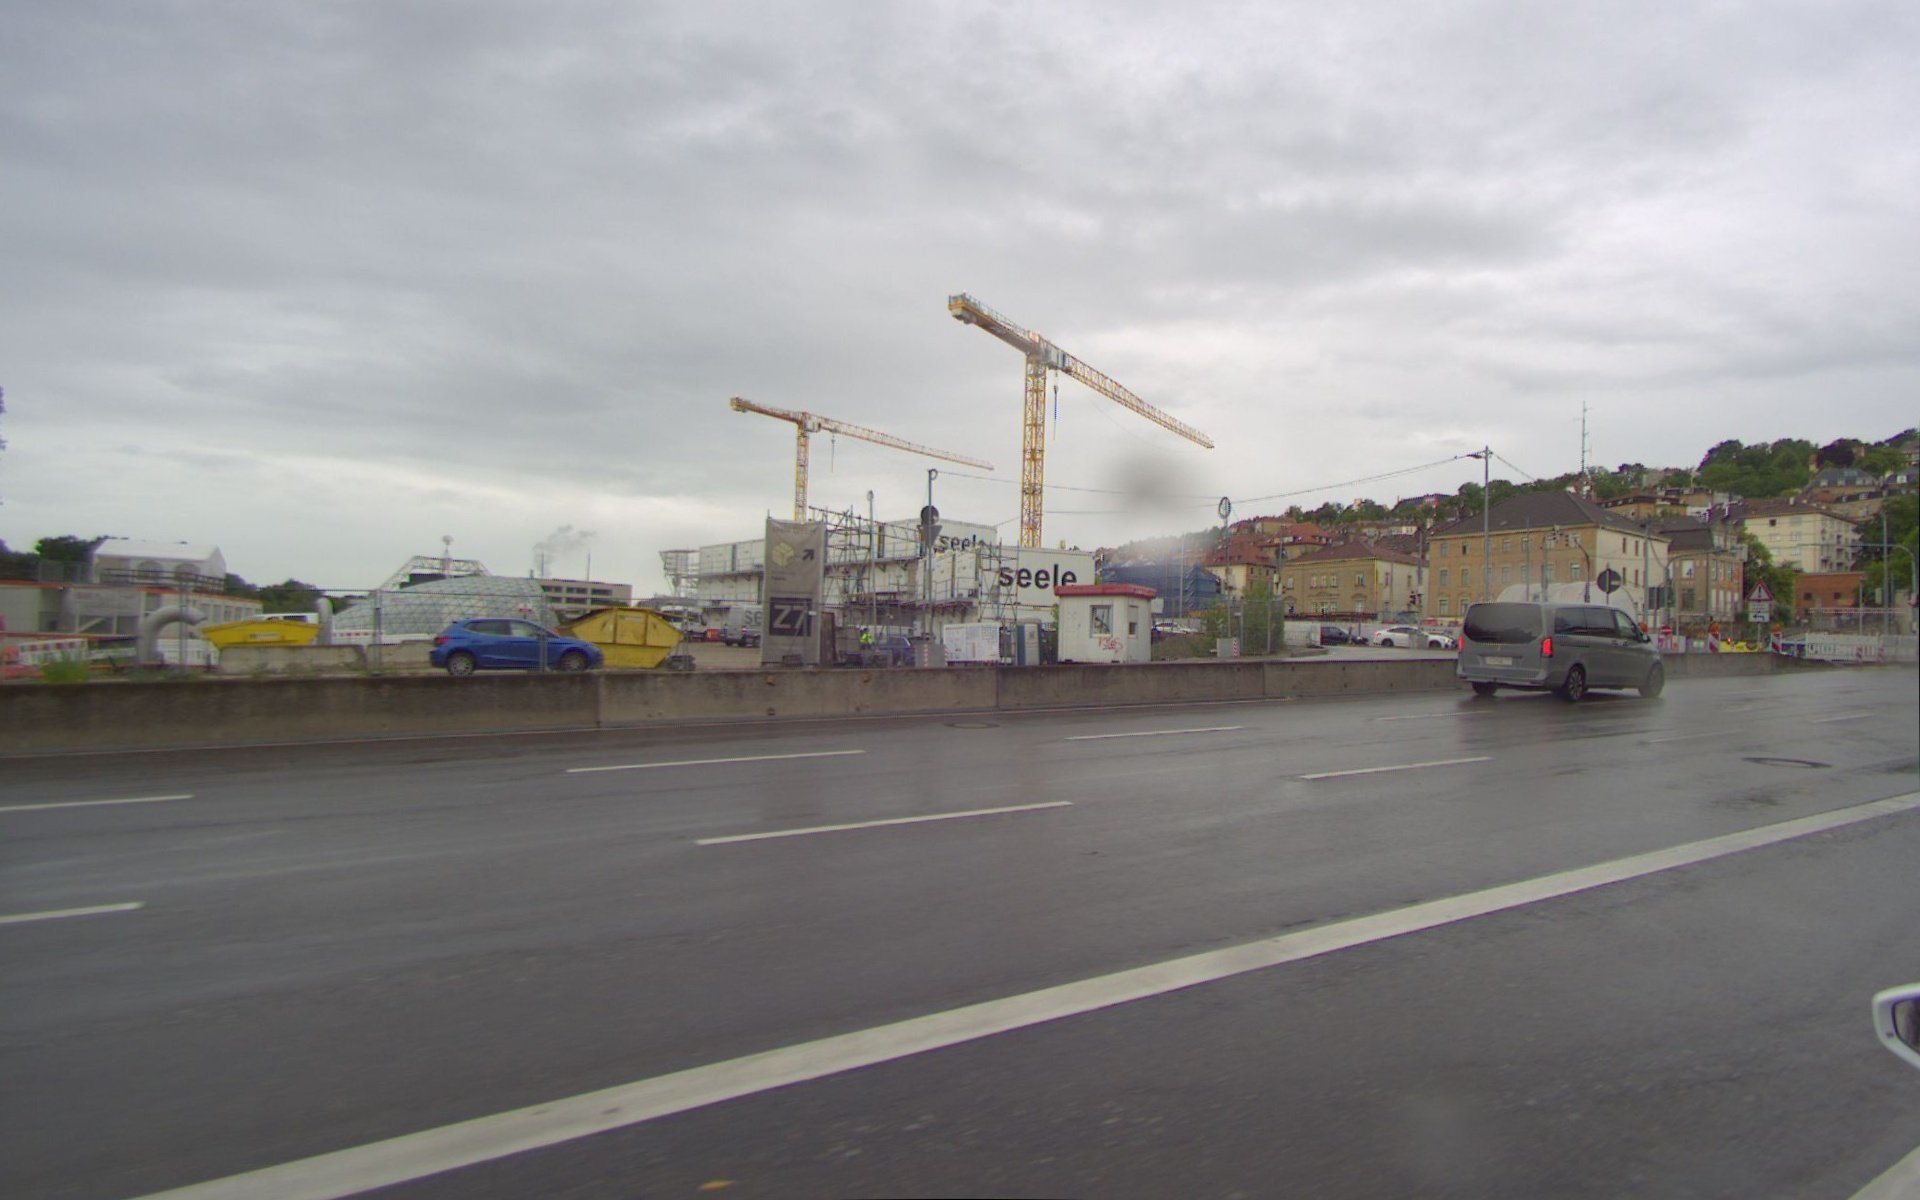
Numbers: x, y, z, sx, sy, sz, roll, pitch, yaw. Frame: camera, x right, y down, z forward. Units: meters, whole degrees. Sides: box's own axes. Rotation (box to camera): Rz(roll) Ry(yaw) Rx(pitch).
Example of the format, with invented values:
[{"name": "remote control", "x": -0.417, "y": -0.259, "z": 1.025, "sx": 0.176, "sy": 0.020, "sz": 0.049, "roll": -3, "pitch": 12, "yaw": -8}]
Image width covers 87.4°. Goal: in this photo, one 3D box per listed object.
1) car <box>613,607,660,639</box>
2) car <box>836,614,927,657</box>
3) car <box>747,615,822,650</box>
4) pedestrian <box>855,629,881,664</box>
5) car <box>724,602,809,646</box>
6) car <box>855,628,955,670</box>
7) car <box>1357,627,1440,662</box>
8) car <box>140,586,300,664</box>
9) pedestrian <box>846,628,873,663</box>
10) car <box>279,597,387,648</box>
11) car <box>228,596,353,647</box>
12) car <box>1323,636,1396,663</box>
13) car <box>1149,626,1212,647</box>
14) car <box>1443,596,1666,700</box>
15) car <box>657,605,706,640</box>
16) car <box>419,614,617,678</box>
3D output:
[{"name": "car", "x": -25.349, "y": 1.812, "z": 78.806, "sx": 2.129, "sy": 2.415, "sz": 4.002, "roll": 0, "pitch": -2, "yaw": 4}, {"name": "car", "x": -3.709, "y": 1.728, "z": 47.770, "sx": 3.971, "sy": 1.965, "sz": 1.976, "roll": 3, "pitch": -4, "yaw": -42}, {"name": "car", "x": -10.336, "y": 1.949, "z": 59.310, "sx": 3.971, "sy": 1.965, "sz": 1.976, "roll": 3, "pitch": -4, "yaw": -42}, {"name": "pedestrian", "x": -3.619, "y": 1.818, "z": 39.467, "sx": 0.827, "sy": 1.370, "sz": 0.740, "roll": 1, "pitch": -1, "yaw": -26}, {"name": "car", "x": -12.089, "y": 1.540, "z": 62.847, "sx": 4.789, "sy": 2.624, "sz": 2.251, "roll": 2, "pitch": -2, "yaw": -44}, {"name": "car", "x": -2.308, "y": 1.983, "z": 41.213, "sx": 1.987, "sy": 1.528, "sz": 3.947, "roll": 2, "pitch": -1, "yaw": -44}, {"name": "car", "x": 26.622, "y": 2.699, "z": 61.018, "sx": 4.349, "sy": 2.040, "sz": 1.994, "roll": -1, "pitch": -2, "yaw": 34}, {"name": "car", "x": -23.994, "y": 0.840, "z": 32.764, "sx": 3.955, "sy": 2.415, "sz": 1.983, "roll": 2, "pitch": -2, "yaw": -32}, {"name": "pedestrian", "x": -4.044, "y": 1.810, "z": 40.310, "sx": 0.822, "sy": 1.370, "sz": 0.745, "roll": 0, "pitch": -1, "yaw": 22}, {"name": "car", "x": -30.668, "y": 1.129, "z": 49.246, "sx": 1.965, "sy": 2.415, "sz": 3.991, "roll": 0, "pitch": -2, "yaw": 32}, {"name": "car", "x": -33.361, "y": 1.093, "z": 50.242, "sx": 1.961, "sy": 2.415, "sz": 4.948, "roll": 0, "pitch": -2, "yaw": 22}, {"name": "car", "x": 27.432, "y": 3.381, "z": 69.015, "sx": 4.349, "sy": 1.740, "sz": 1.994, "roll": -1, "pitch": -2, "yaw": 34}, {"name": "car", "x": 17.208, "y": 2.870, "z": 78.564, "sx": 1.987, "sy": 1.578, "sz": 4.466, "roll": 2, "pitch": -3, "yaw": -44}, {"name": "car", "x": 11.958, "y": 0.953, "z": 20.111, "sx": 4.633, "sy": 1.863, "sz": 1.982, "roll": 3, "pitch": -2, "yaw": -33}, {"name": "car", "x": -19.799, "y": 1.651, "z": 71.535, "sx": 2.125, "sy": 2.415, "sz": 4.002, "roll": 0, "pitch": -2, "yaw": 4}, {"name": "car", "x": -11.061, "y": 1.155, "z": 25.267, "sx": 4.383, "sy": 1.509, "sz": 1.829, "roll": 2, "pitch": -2, "yaw": -27}]
